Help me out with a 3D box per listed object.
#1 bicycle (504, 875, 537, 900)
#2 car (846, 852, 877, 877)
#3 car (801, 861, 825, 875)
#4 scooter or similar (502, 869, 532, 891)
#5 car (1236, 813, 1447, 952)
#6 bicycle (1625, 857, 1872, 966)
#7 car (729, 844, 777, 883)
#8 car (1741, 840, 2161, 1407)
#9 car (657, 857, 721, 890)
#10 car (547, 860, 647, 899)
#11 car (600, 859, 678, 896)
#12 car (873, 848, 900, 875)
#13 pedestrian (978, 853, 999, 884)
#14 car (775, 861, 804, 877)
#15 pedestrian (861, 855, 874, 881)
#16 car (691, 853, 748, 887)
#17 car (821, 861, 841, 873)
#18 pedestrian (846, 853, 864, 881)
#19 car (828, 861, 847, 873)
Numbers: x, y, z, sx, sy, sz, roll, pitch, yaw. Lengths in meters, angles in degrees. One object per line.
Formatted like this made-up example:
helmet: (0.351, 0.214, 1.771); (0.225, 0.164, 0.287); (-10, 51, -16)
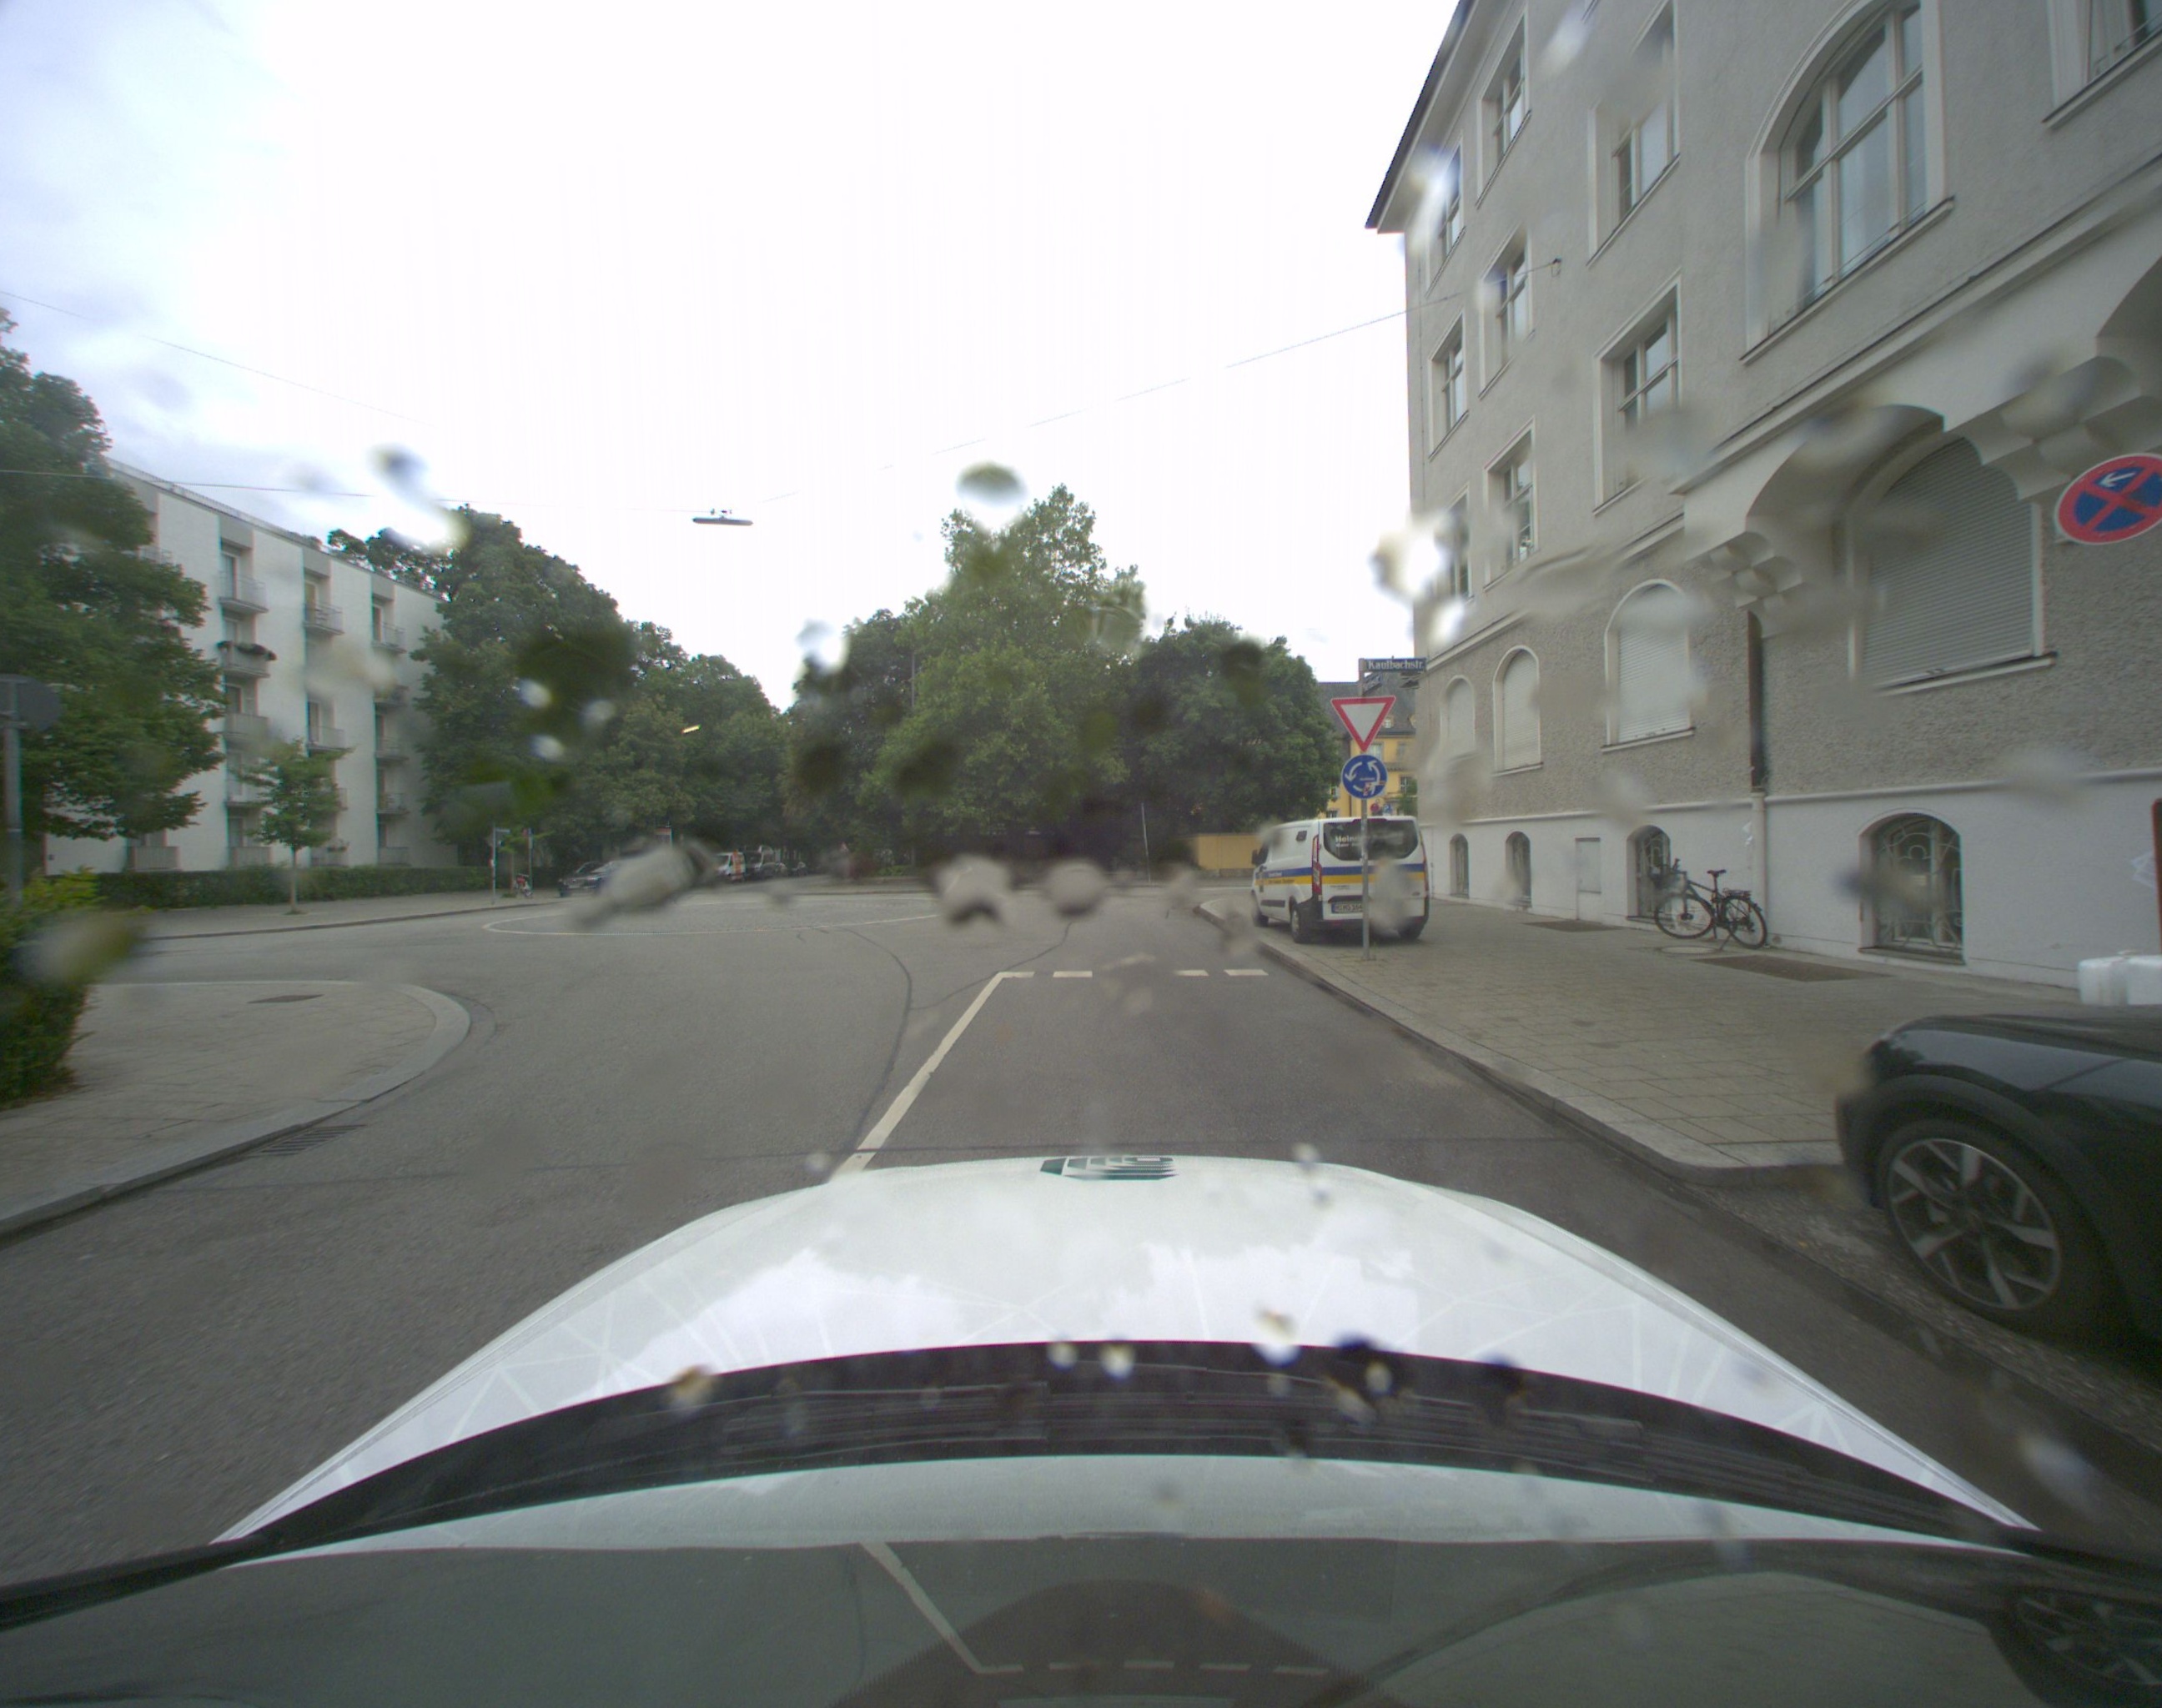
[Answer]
bicycle: (-26.217, 1.543, 38.093); (0.753, 1.085, 1.774); (-2, 0, -17)
car: (-17.978, 0.855, 66.754); (1.911, 1.937, 4.953); (-1, 0, -9)
car: (-30.476, 1.591, 92.754); (1.994, 1.487, 4.115); (-1, 0, -10)
scooter or similar: (-32.402, 1.470, 46.805); (0.701, 1.191, 1.653); (-1, 0, -9)
car: (4.248, 0.398, 14.361); (1.932, 1.922, 5.373); (-2, 0, 0)
bicycle: (8.245, 0.634, 10.311); (0.836, 1.112, 2.758); (-5, 0, 1)
car: (-27.390, 0.773, 68.177); (2.171, 3.002, 6.216); (-1, 0, -8)
car: (3.628, 0.691, 1.528); (1.706, 1.445, 3.828); (-1, 0, 1)
car: (-25.190, 1.178, 52.530); (2.025, 1.908, 5.650); (-3, 0, -9)
car: (-23.793, 1.190, 40.289); (2.080, 1.719, 5.296); (-1, 0, -5)
car: (-24.557, 1.264, 45.498); (2.081, 1.903, 4.848); (-1, 0, -6)
car: (-19.668, 0.726, 82.532); (1.992, 2.558, 5.417); (-1, 0, -7)
pedestrian: (-4.200, 0.644, 37.195); (0.766, 1.356, 1.132); (-1, 0, 2)
car: (-28.354, 1.443, 79.286); (1.994, 1.420, 4.115); (-1, 0, -10)
pedestrian: (-14.123, 0.904, 53.830); (0.637, 1.667, 0.690); (-1, 0, -30)
car: (-26.240, 1.134, 59.317); (2.082, 2.264, 5.589); (-3, 0, -7)
car: (-31.814, 1.670, 103.764); (1.994, 1.487, 4.115); (-1, 0, -10)
pedestrian: (-14.969, 0.850, 53.935); (0.826, 1.836, 0.942); (-1, 0, -35)
car: (-32.643, 1.713, 109.270); (1.994, 1.487, 4.115); (-1, 0, -10)
